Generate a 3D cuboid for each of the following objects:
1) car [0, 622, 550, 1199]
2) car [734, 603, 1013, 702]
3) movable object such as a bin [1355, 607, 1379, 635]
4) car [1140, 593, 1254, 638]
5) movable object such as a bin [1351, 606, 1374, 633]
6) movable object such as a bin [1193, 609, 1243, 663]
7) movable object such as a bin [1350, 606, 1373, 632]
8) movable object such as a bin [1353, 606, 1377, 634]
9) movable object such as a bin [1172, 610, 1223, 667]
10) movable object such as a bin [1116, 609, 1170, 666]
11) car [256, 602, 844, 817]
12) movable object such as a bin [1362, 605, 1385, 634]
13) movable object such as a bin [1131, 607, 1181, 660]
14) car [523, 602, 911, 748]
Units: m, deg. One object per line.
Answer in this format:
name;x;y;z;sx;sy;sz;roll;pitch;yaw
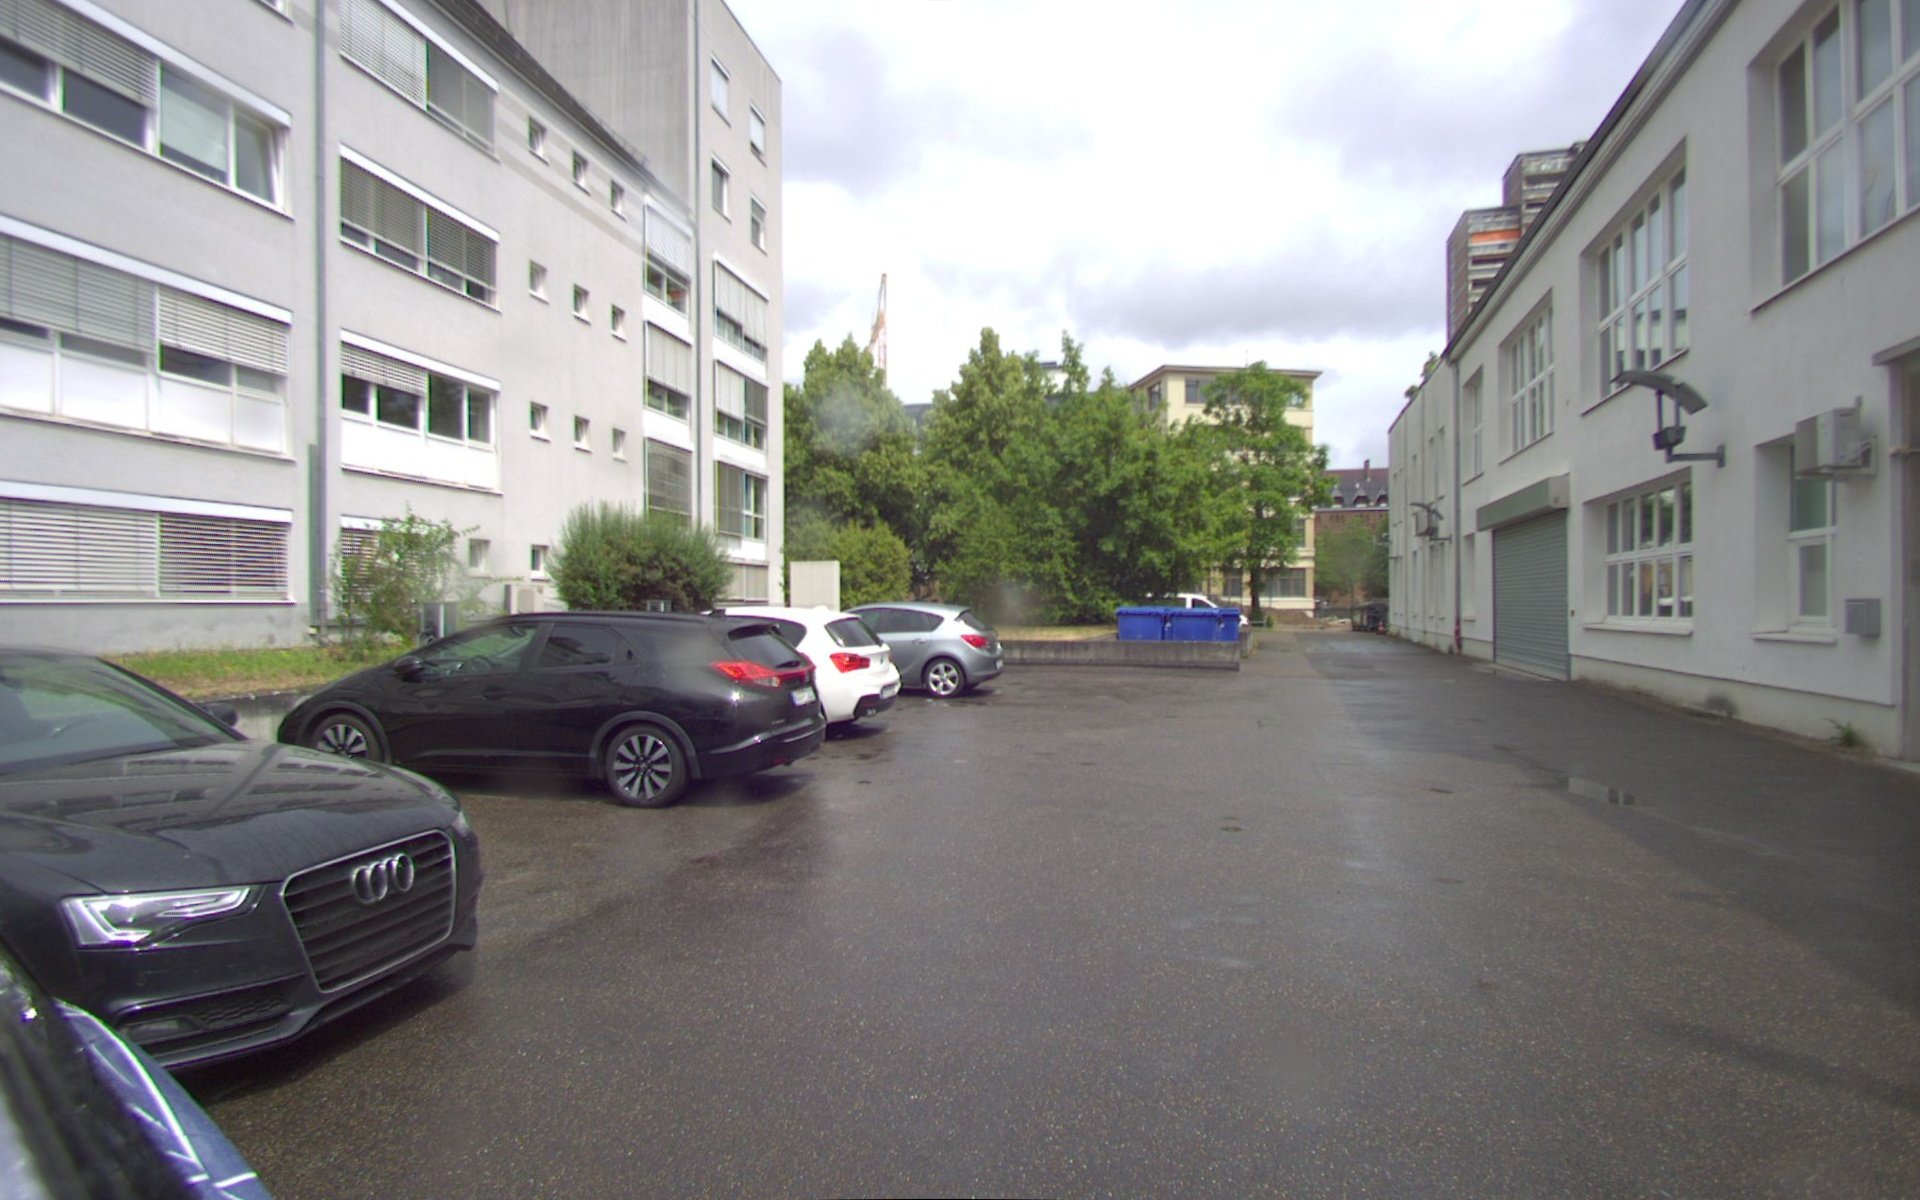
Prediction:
car;-4.055;0.793;3.790;4.482;1.362;1.756;0;0;12
car;-1.366;0.798;16.644;4.269;1.453;1.757;0;0;11
movable object such as a bin;19.854;1.019;49.406;1.038;1.366;1.199;-1;0;20
car;9.669;0.630;41.334;4.305;1.740;1.710;-1;0;22
movable object such as a bin;20.755;1.000;52.194;1.058;1.366;1.256;-1;0;20
movable object such as a bin;6.716;0.927;26.284;1.123;1.338;1.200;-1;0;20
movable object such as a bin;21.195;0.990;53.485;1.058;1.366;1.256;-1;0;20
movable object such as a bin;20.297;1.009;50.691;1.055;1.366;1.210;-1;0;20
movable object such as a bin;5.814;0.935;24.720;1.087;1.335;1.200;-1;0;20
movable object such as a bin;4.540;0.915;25.105;1.123;1.338;1.200;-1;0;20
car;-3.261;0.773;8.375;4.269;1.453;1.757;0;0;11
movable object such as a bin;19.502;0.921;47.740;0.971;1.366;0.913;-1;0;20
movable object such as a bin;5.176;0.881;26.689;1.123;1.338;1.200;-1;0;20
car;-2.750;0.780;11.750;4.083;1.453;1.690;0;0;13
